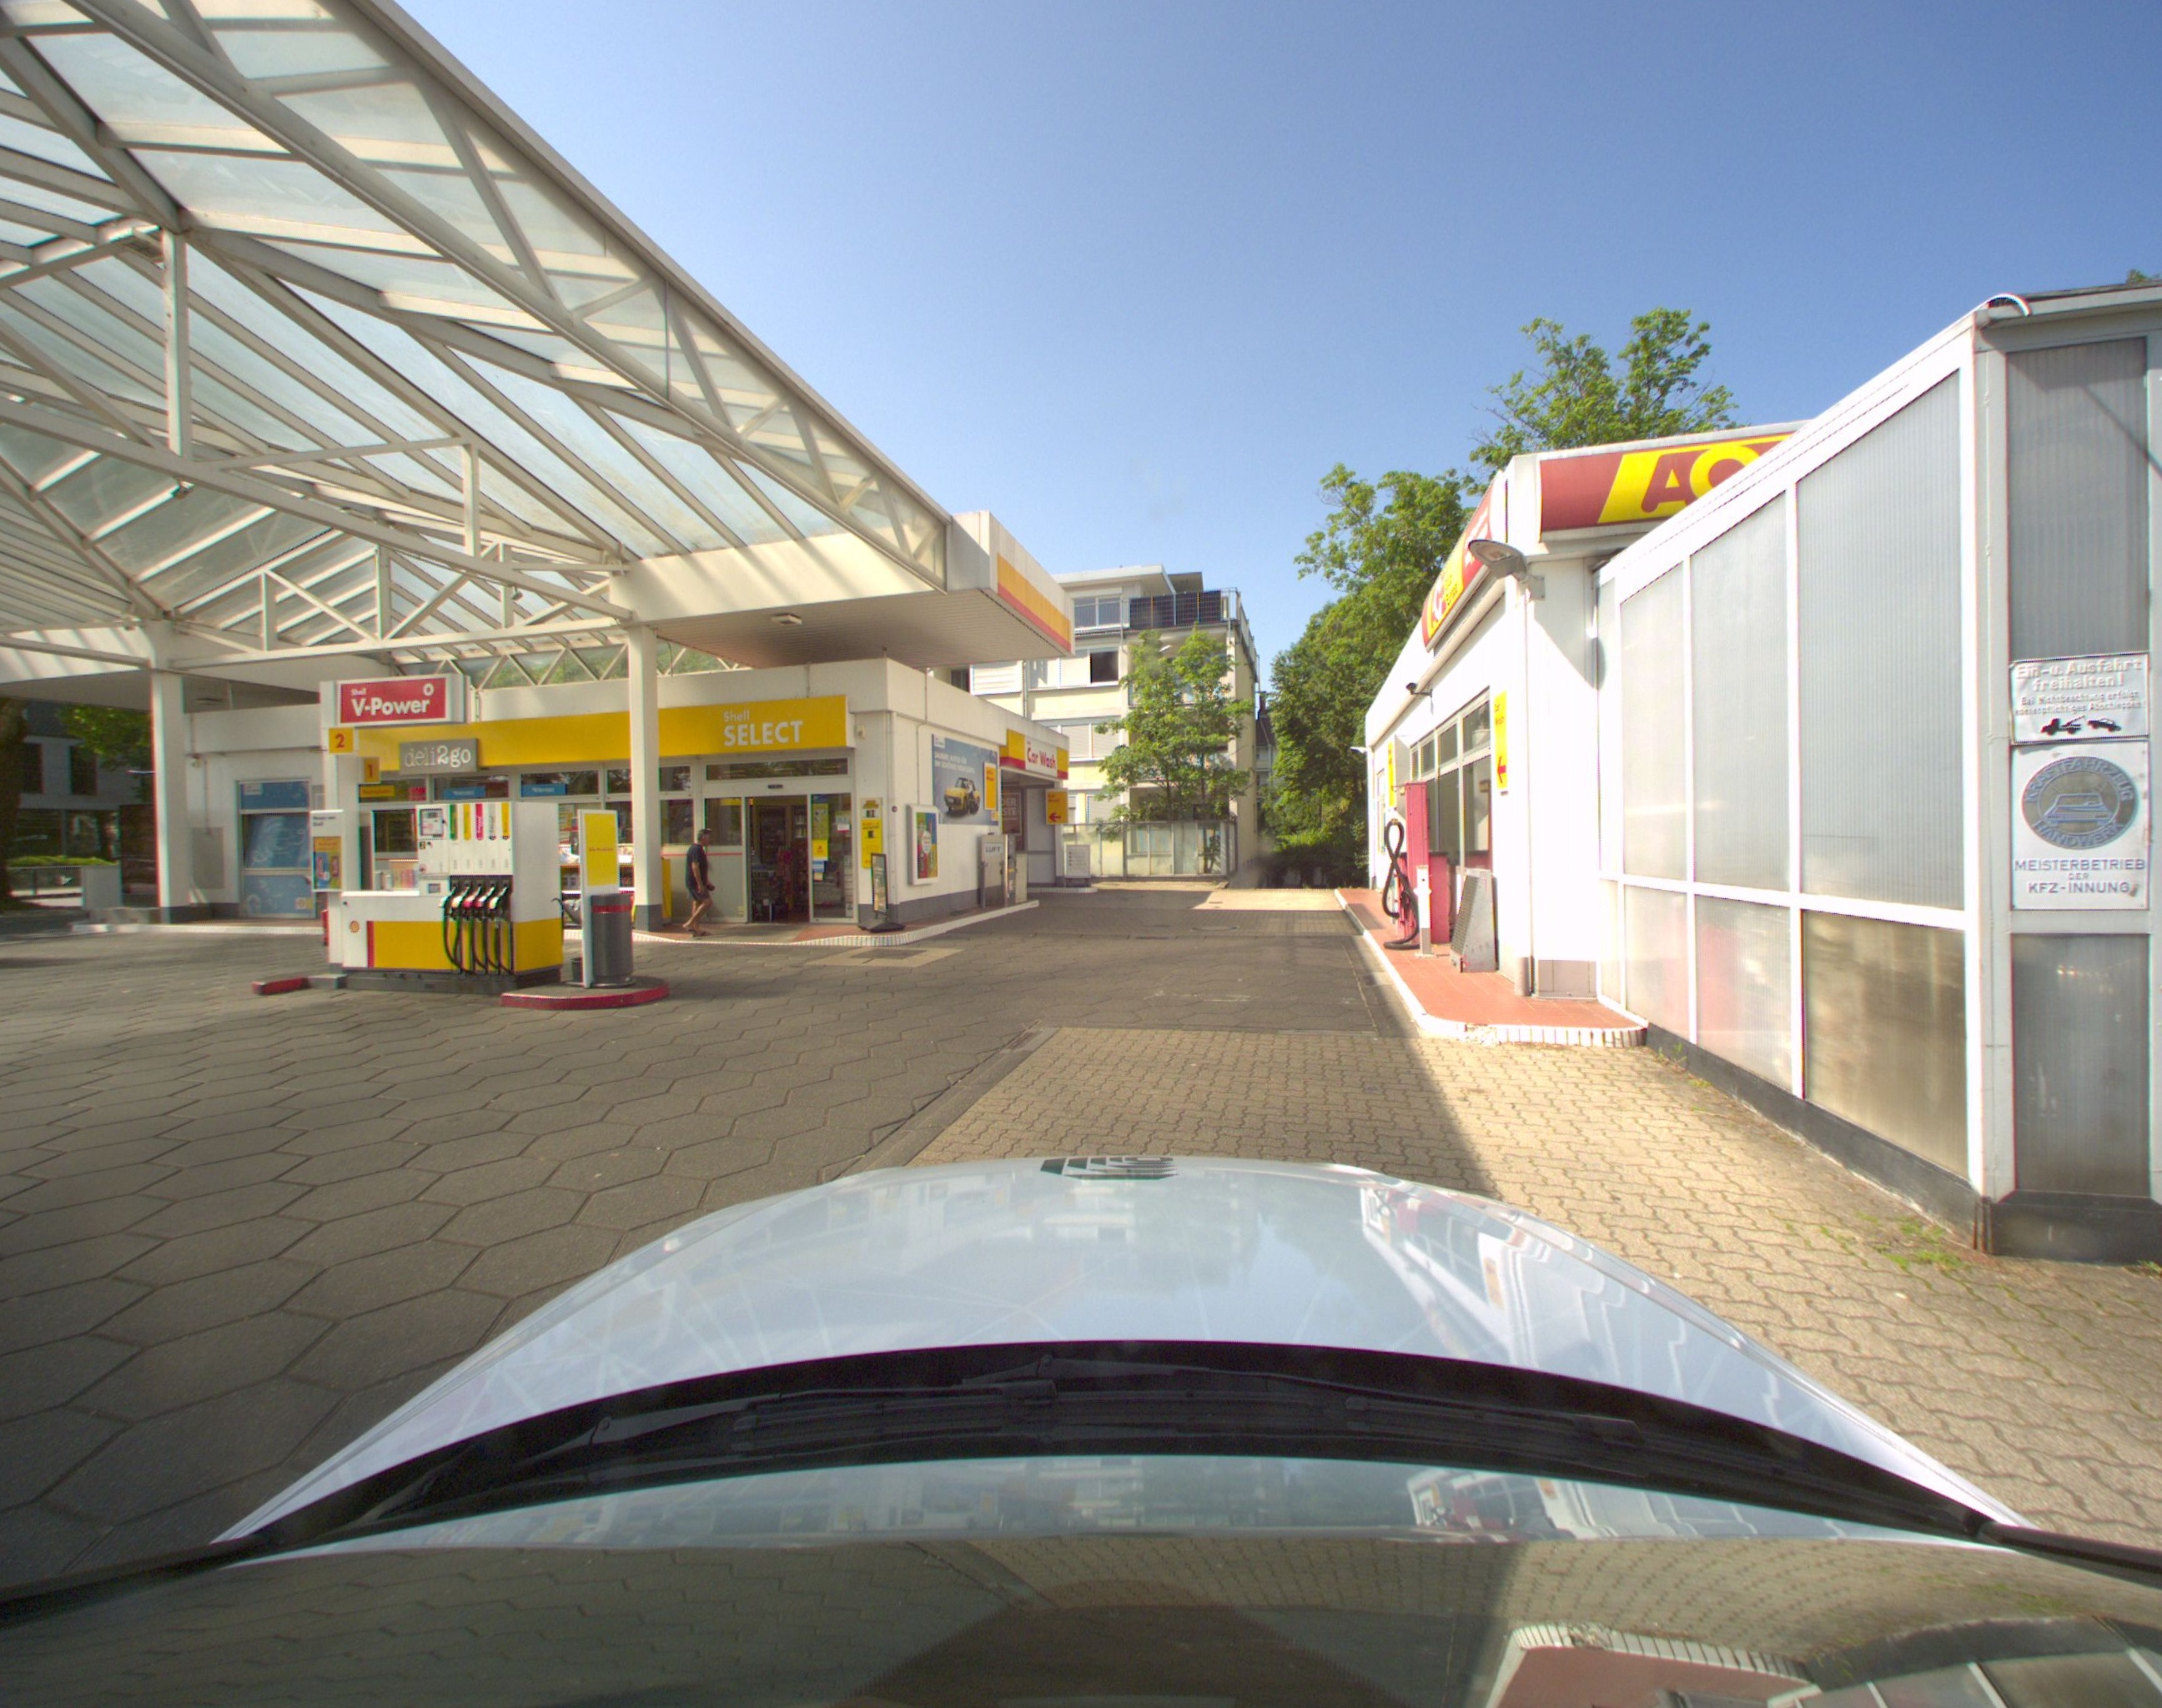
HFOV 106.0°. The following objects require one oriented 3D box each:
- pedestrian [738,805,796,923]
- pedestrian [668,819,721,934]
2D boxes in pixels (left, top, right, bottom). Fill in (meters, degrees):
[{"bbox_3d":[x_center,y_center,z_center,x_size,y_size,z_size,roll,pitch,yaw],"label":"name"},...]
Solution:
[{"bbox_3d":[-5.486,0.164,14.275,0.618,2.013,0.744,-1,1,6],"label":"pedestrian"},{"bbox_3d":[-6.061,0.343,12.782,0.571,1.761,0.529,-1,0,-6],"label":"pedestrian"}]
